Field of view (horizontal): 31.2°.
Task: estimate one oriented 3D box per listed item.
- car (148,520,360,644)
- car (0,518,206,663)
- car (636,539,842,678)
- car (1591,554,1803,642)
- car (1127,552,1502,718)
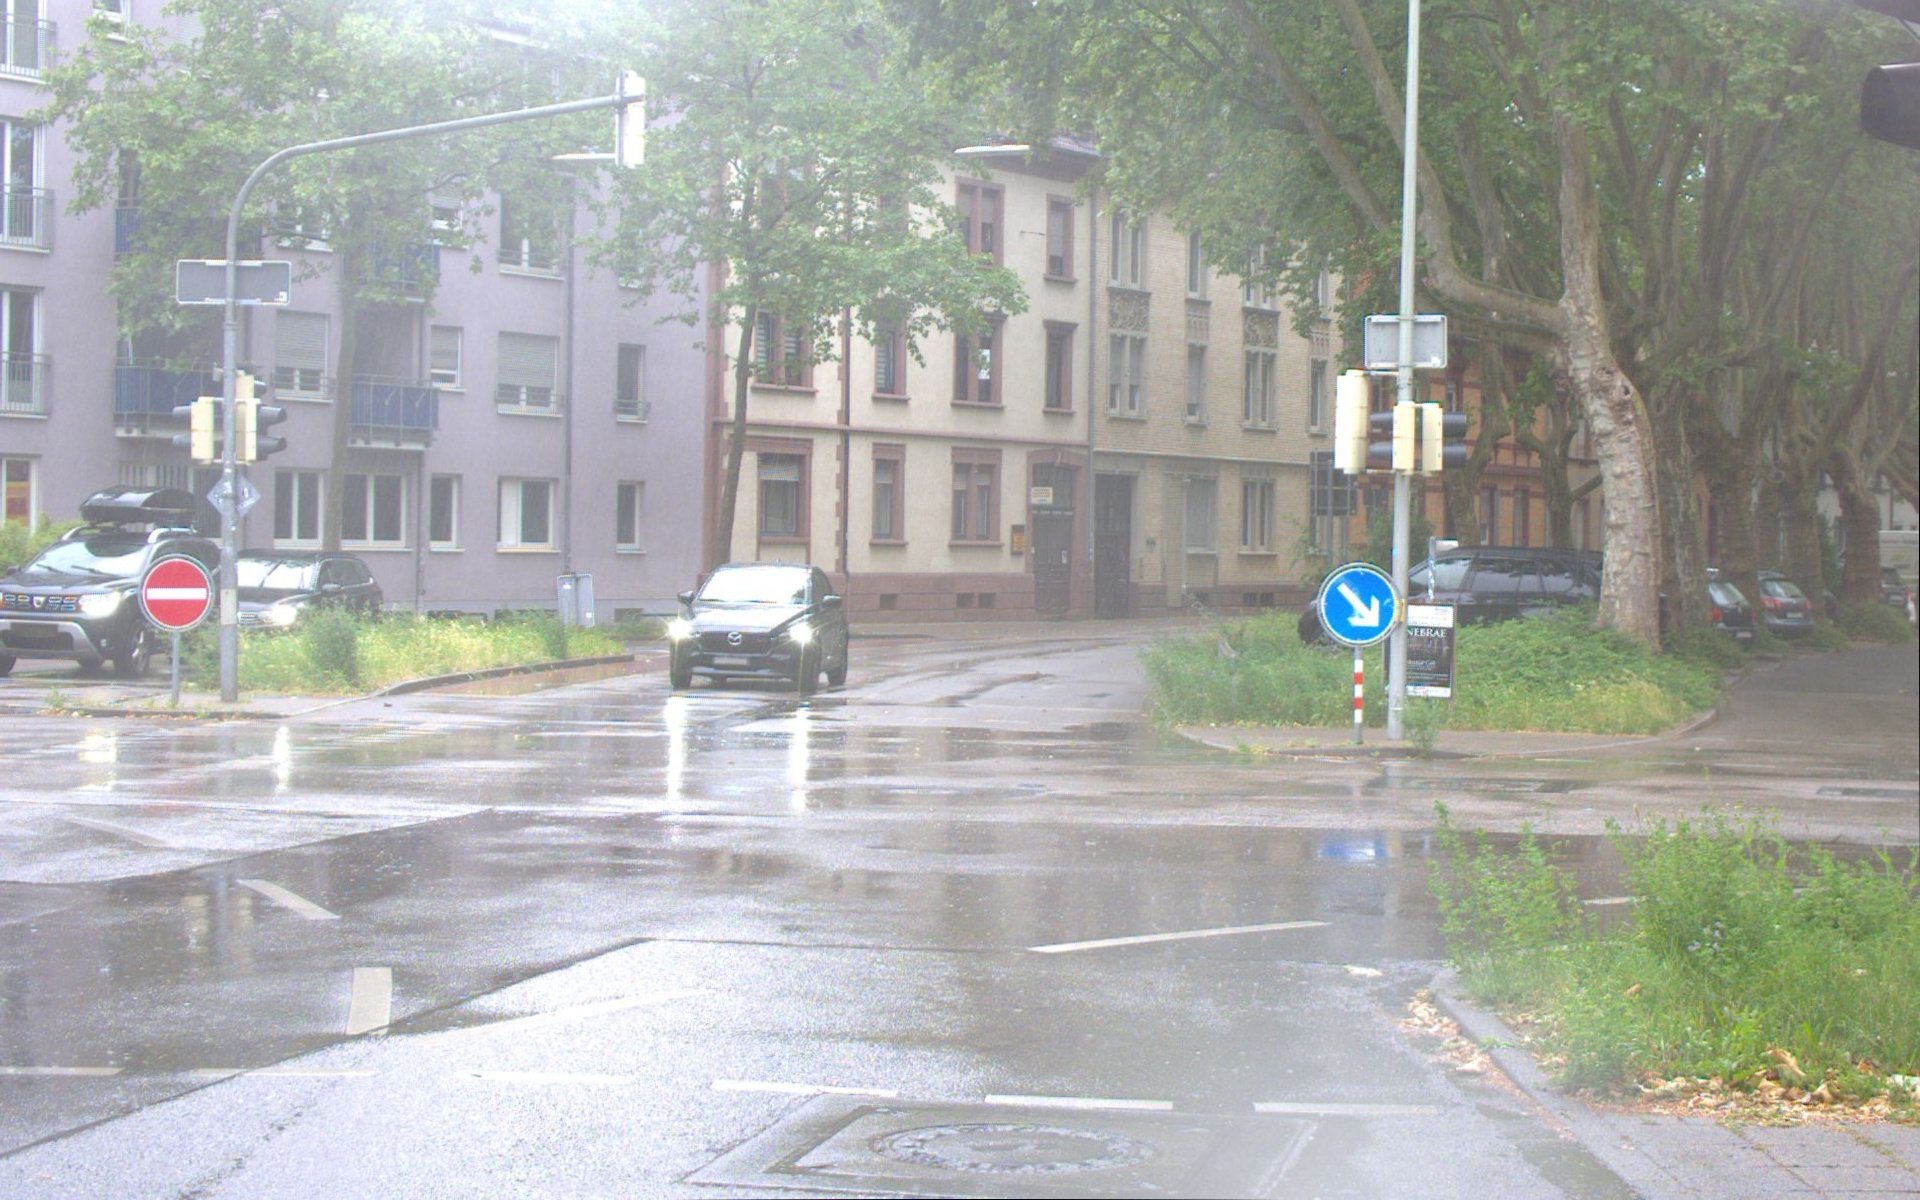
[{"bbox_3d":[-9.172,-0.264,44.916,1.725,1.547,3.559,-1,1,5],"label":"car"},{"bbox_3d":[-9.903,-0.131,38.757,1.725,1.547,3.559,-1,1,5],"label":"car"},{"bbox_3d":[-2.563,0.072,40.628,1.603,1.547,3.558,0,1,10],"label":"car"},{"bbox_3d":[13.978,-0.039,65.229,3.611,1.612,1.679,0,1,28],"label":"car"},{"bbox_3d":[3.414,0.326,32.934,3.480,1.518,1.519,0,1,9],"label":"car"}]
